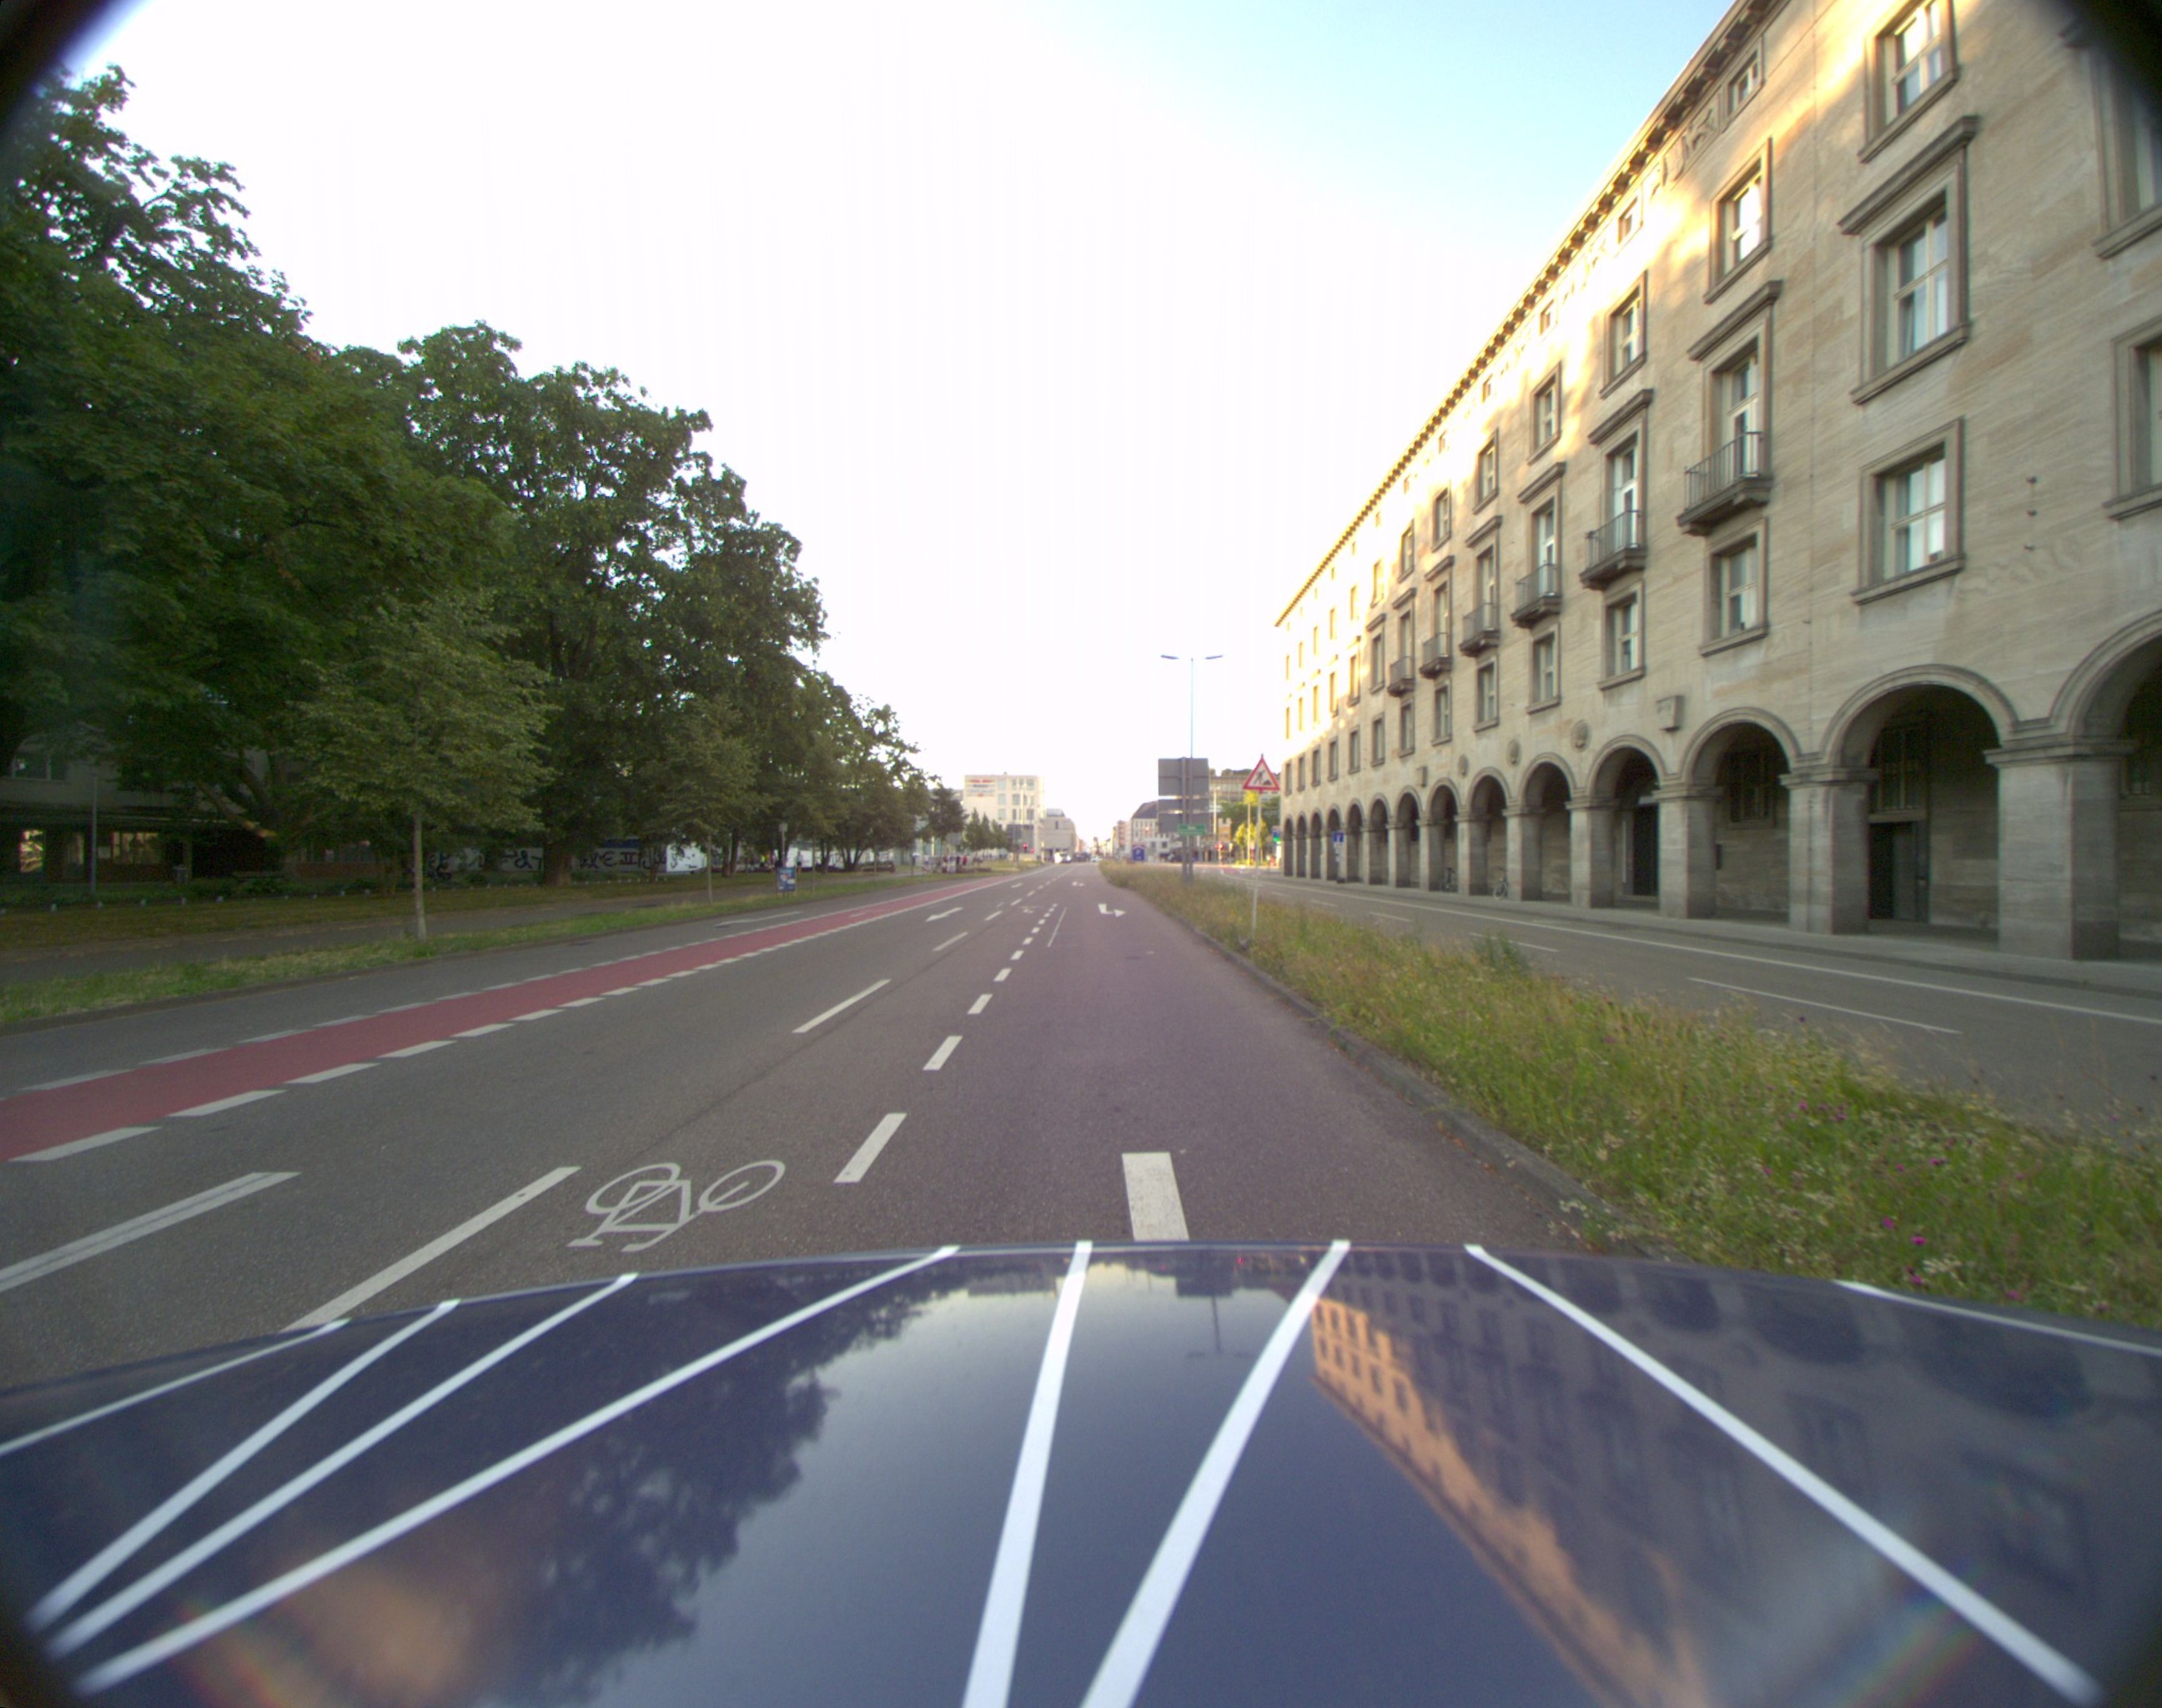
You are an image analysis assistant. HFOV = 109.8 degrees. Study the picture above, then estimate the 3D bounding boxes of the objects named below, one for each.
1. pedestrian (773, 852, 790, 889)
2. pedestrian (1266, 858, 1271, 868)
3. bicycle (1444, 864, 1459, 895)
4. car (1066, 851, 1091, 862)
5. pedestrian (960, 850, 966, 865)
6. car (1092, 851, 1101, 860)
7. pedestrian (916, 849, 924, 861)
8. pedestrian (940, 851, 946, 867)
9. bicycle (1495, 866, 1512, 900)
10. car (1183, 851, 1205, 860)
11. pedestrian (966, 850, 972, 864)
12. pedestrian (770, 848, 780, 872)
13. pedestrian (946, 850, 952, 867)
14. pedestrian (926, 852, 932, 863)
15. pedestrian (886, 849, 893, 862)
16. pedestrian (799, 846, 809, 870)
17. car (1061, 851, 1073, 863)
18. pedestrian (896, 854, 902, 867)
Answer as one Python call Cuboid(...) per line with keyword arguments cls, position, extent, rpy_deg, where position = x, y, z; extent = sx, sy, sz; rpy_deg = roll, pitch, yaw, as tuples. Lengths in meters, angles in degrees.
Cuboid(cls="pedestrian", position=(-14.094, 0.772, 35.770), extent=(0.558, 1.729, 0.555), rpy_deg=(0, 1, 1))
Cuboid(cls="pedestrian", position=(27.109, 1.309, 109.854), extent=(0.526, 1.532, 0.390), rpy_deg=(0, 1, 1))
Cuboid(cls="bicycle", position=(15.035, 1.019, 30.867), extent=(0.513, 1.172, 2.427), rpy_deg=(0, 0, 25))
Cuboid(cls="car", position=(-0.458, 0.426, 134.667), extent=(4.000, 1.797, 1.998), rpy_deg=(0, 0, -10))
Cuboid(cls="pedestrian", position=(-14.136, 0.448, 90.709), extent=(0.638, 1.747, 0.506), rpy_deg=(0, 1, 1))
Cuboid(cls="car", position=(3.514, 0.285, 169.888), extent=(1.999, 2.002, 3.999), rpy_deg=(0, 0, 0))
Cuboid(cls="pedestrian", position=(-18.953, 0.139, 89.382), extent=(0.728, 1.347, 0.614), rpy_deg=(0, 1, 1))
Cuboid(cls="pedestrian", position=(-14.485, 0.548, 79.830), extent=(0.519, 1.720, 0.719), rpy_deg=(0, 1, 1))
Cuboid(cls="bicycle", position=(15.482, 1.032, 27.831), extent=(0.513, 1.115, 2.427), rpy_deg=(0, 1, 30))
Cuboid(cls="car", position=(24.685, 0.361, 166.159), extent=(4.437, 2.002, 2.000), rpy_deg=(0, 0, 3))
Cuboid(cls="pedestrian", position=(-13.360, 0.365, 90.300), extent=(0.638, 1.747, 0.506), rpy_deg=(0, 1, 1))
Cuboid(cls="pedestrian", position=(-20.923, 0.406, 51.958), extent=(0.500, 1.592, 0.365), rpy_deg=(0, 1, 1))
Cuboid(cls="pedestrian", position=(-13.356, 0.462, 76.983), extent=(0.509, 1.720, 0.719), rpy_deg=(0, 1, 1))
Cuboid(cls="pedestrian", position=(-17.791, 0.430, 88.853), extent=(0.662, 1.347, 0.559), rpy_deg=(0, 1, 1))
Cuboid(cls="pedestrian", position=(-21.160, 0.167, 84.010), extent=(0.519, 1.347, 0.773), rpy_deg=(0, 1, 1))
Cuboid(cls="pedestrian", position=(-19.005, 0.284, 52.076), extent=(0.500, 1.592, 0.522), rpy_deg=(0, 1, 1))
Cuboid(cls="car", position=(-2.193, 0.419, 121.300), extent=(1.767, 1.877, 4.499), rpy_deg=(0, 0, 0))
Cuboid(cls="pedestrian", position=(-20.156, 0.707, 84.098), extent=(0.519, 1.347, 0.773), rpy_deg=(0, 1, 1))
